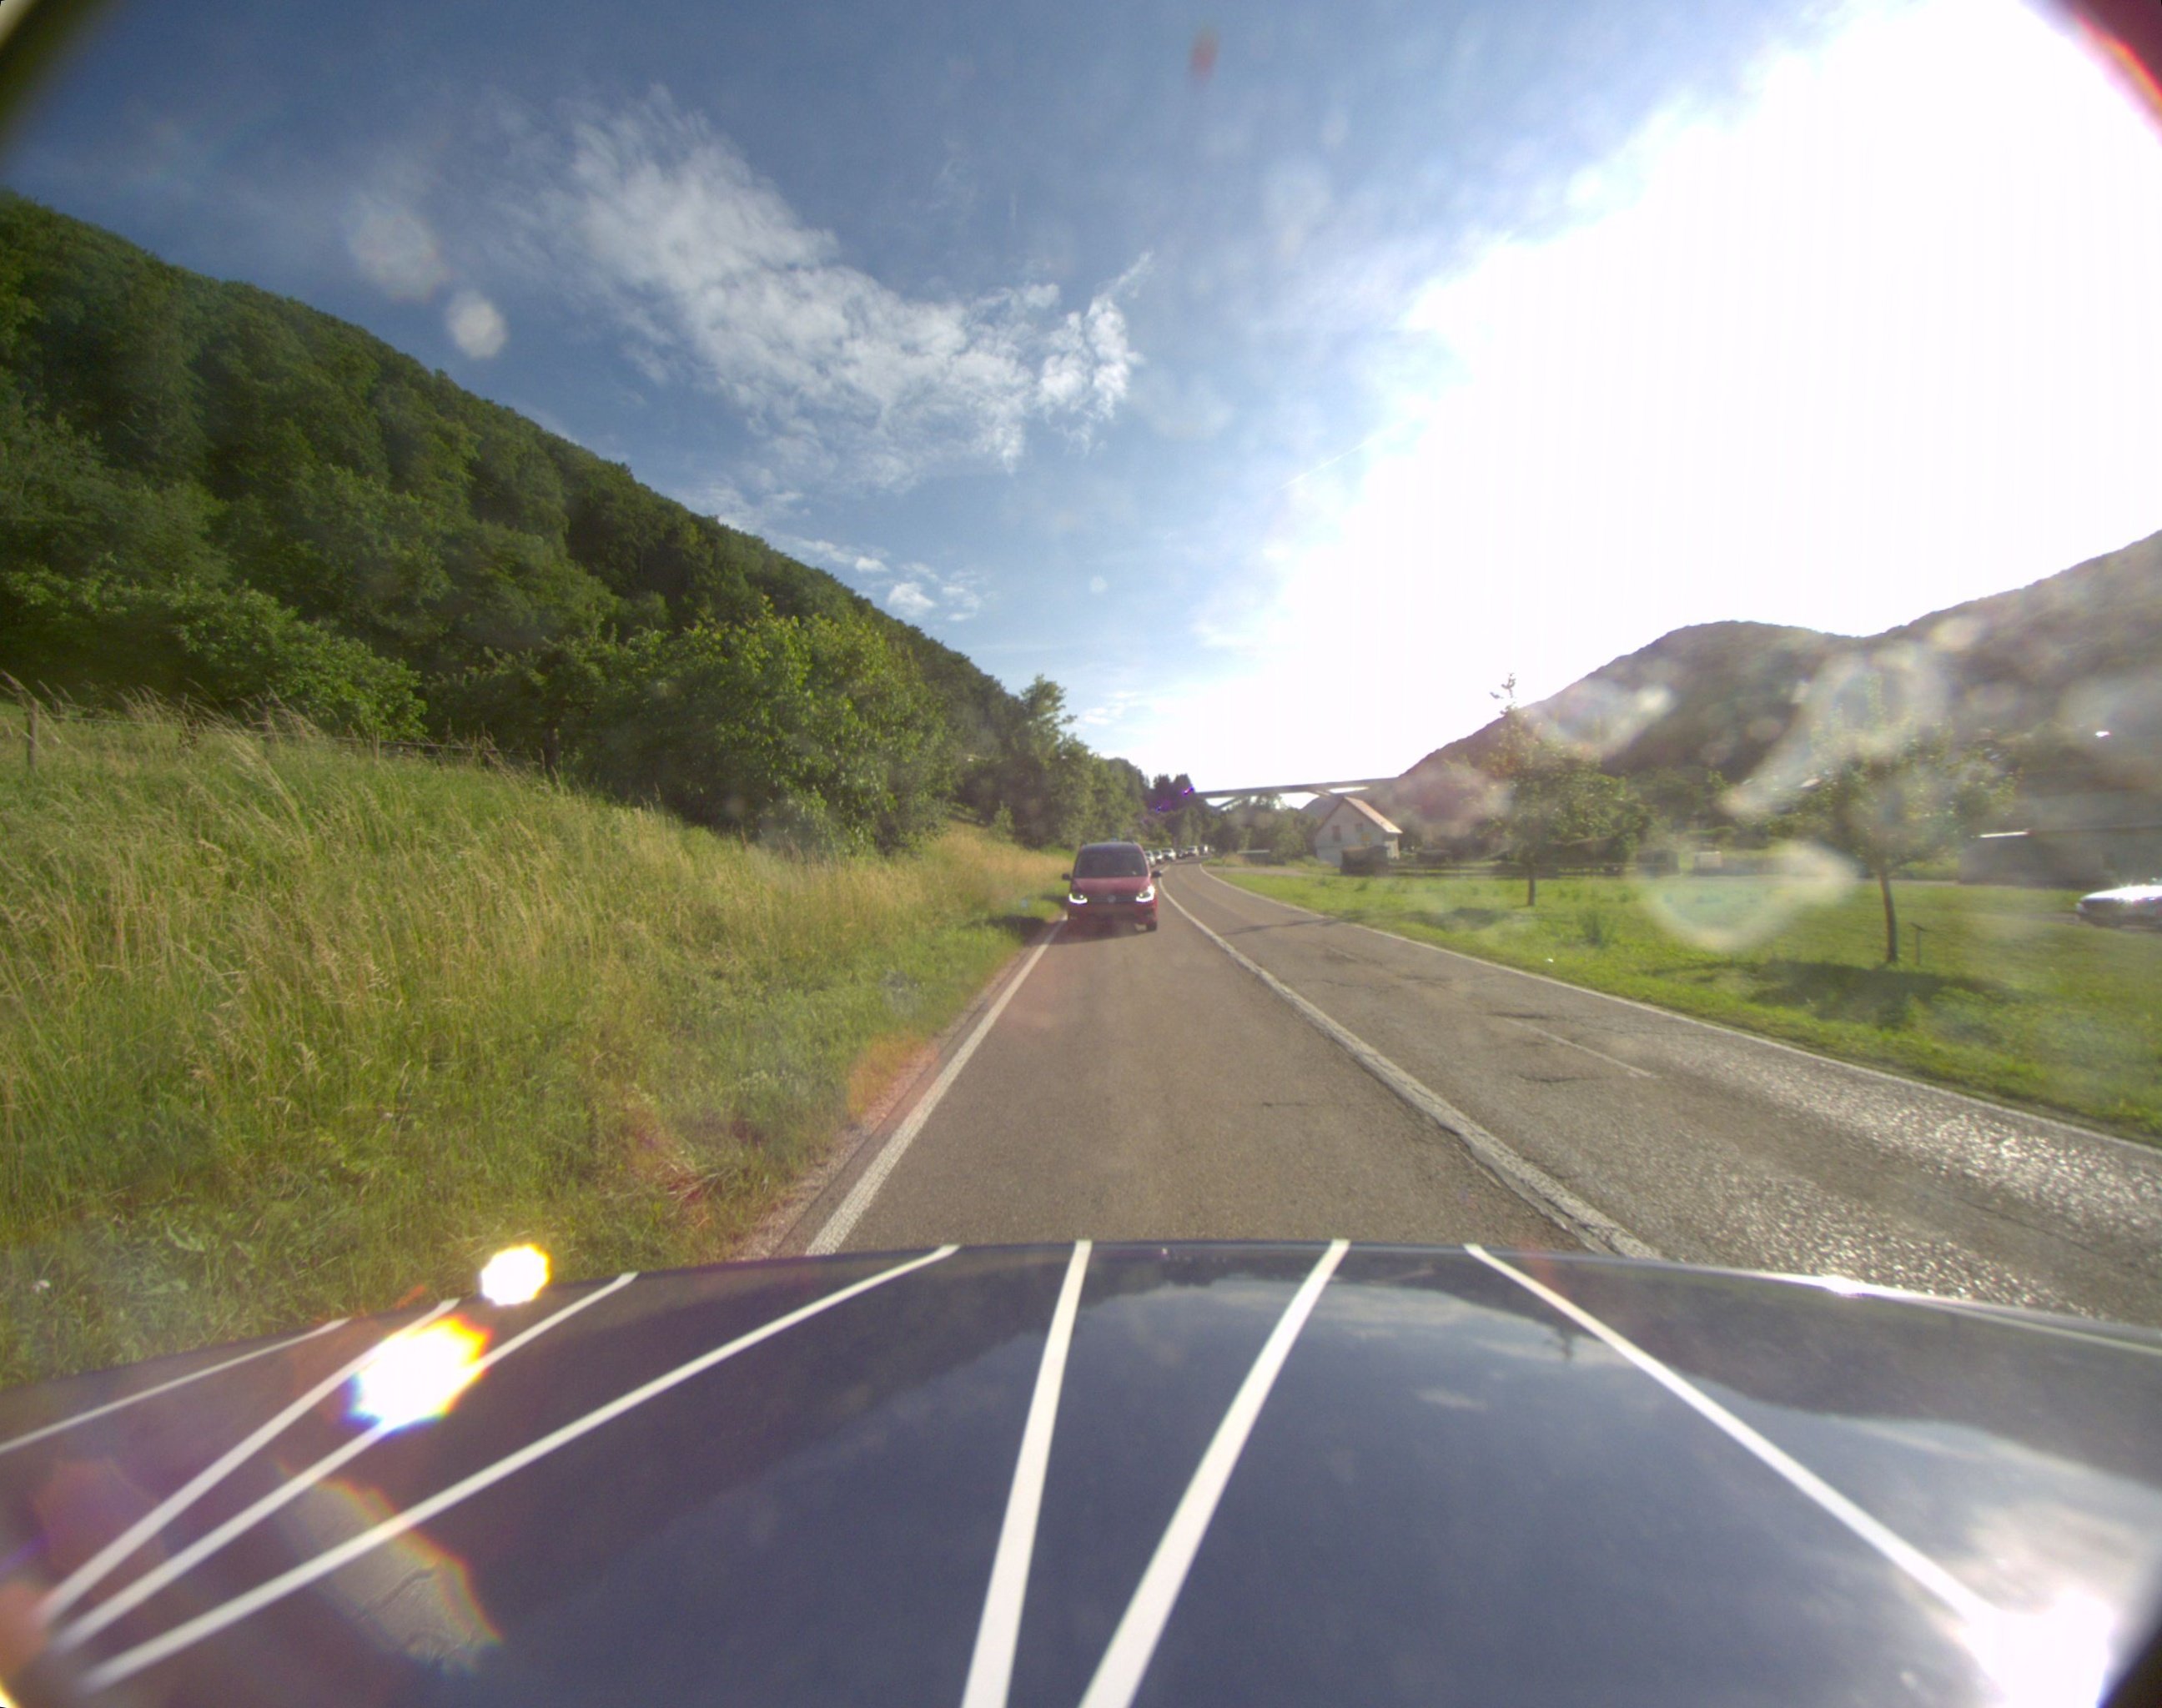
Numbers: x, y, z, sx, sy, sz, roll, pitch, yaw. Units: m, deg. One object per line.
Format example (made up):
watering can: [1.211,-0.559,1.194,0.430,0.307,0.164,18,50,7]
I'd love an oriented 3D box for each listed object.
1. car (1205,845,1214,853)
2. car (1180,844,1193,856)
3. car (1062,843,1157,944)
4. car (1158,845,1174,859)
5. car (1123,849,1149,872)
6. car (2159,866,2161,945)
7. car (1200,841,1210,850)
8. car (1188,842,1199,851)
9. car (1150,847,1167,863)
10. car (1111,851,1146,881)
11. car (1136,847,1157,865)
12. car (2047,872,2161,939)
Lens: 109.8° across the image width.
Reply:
car: [25.100,-1.040,147.843,1.629,1.470,3.681,-2,1,11]
car: [14.655,-0.582,105.622,1.629,1.470,3.681,-2,1,11]
car: [0.634,0.699,15.798,1.649,1.762,4.000,-2,1,3]
car: [10.111,-0.260,90.208,1.629,1.470,3.680,-2,1,3]
car: [4.001,0.424,54.496,1.629,1.470,3.681,-2,1,7]
car: [24.603,1.027,14.568,4.327,1.659,1.849,-2,1,16]
car: [22.112,-1.503,135.839,1.629,1.470,3.681,-2,1,11]
car: [17.961,-1.215,121.435,1.629,1.470,3.680,-2,1,6]
car: [8.034,0.075,78.895,1.629,1.470,3.680,-2,1,3]
car: [2.629,0.626,41.253,1.629,1.470,3.681,-2,1,7]
car: [5.839,0.169,67.448,1.629,1.470,3.681,-2,1,7]
car: [25.678,1.151,17.536,3.892,1.360,1.854,-1,1,12]
